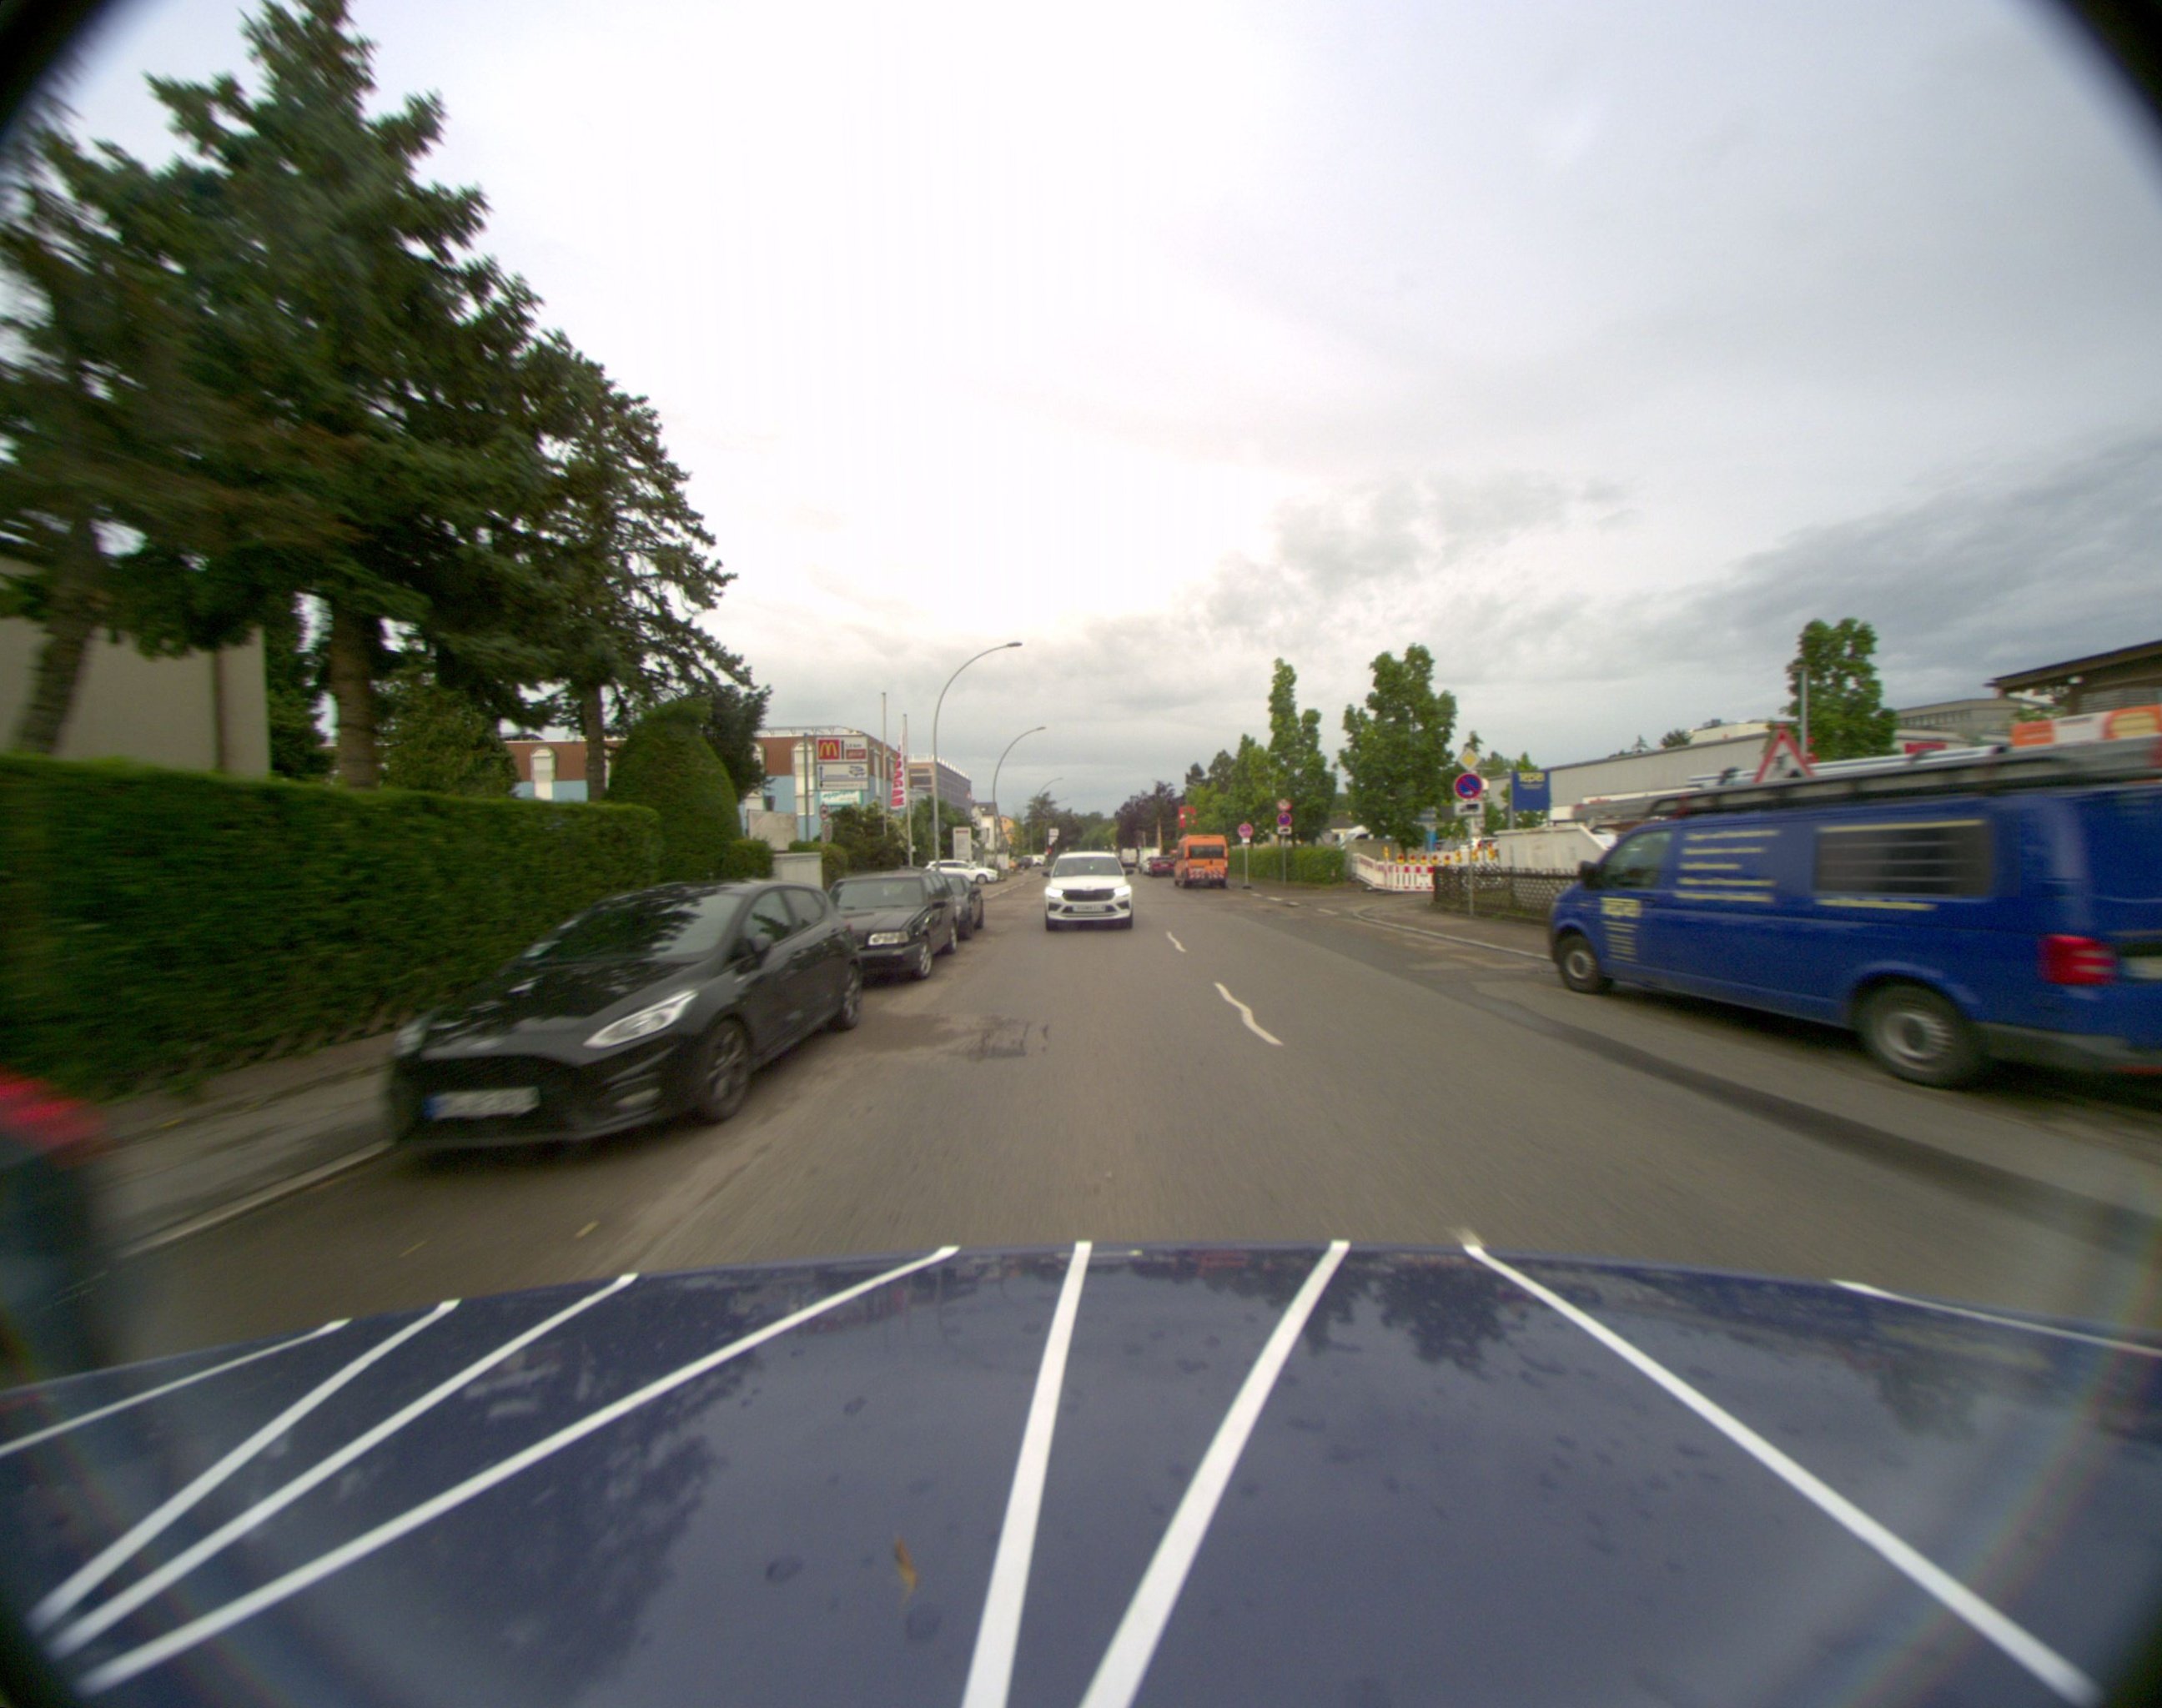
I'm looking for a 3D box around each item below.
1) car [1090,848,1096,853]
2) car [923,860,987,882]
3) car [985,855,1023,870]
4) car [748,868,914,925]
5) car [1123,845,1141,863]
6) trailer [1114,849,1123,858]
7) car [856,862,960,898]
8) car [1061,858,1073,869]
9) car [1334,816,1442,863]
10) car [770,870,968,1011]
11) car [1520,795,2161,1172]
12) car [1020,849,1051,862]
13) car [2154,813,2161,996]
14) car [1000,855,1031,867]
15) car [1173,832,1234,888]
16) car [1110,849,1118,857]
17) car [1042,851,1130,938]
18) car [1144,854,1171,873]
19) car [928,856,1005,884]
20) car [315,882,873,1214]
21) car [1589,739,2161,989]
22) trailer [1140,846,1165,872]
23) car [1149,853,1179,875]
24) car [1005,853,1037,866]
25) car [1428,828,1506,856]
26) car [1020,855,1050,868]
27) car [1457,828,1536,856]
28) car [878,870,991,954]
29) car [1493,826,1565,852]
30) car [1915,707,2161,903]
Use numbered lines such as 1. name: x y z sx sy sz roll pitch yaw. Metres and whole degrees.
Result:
1. car: 4.022 -1.068 253.698 1.898 1.678 4.230 0 1 1
2. car: -9.433 1.245 57.205 4.427 1.384 1.880 -3 0 -1
3. car: -8.345 0.893 82.644 3.997 1.422 1.630 -2 1 -1
4. car: -6.955 1.174 21.492 3.997 1.259 1.950 -3 1 -1
5. car: 7.024 0.012 105.556 2.163 2.413 6.459 1 1 1
6. trailer: 8.059 -0.187 163.739 1.934 1.755 4.548 -2 1 1
7. car: -7.485 1.104 33.176 3.996 1.259 1.951 -3 1 3
8. car: -2.210 1.494 118.843 1.743 1.458 4.545 -3 1 0
9. car: 14.815 -0.690 36.859 4.317 2.002 2.062 -3 1 1
10. car: -2.842 1.062 11.327 1.661 1.411 4.775 -3 1 -2
11. car: 6.396 0.601 6.607 1.998 1.936 5.364 -3 1 0
12. car: -7.343 0.203 123.638 4.743 1.875 2.000 -3 1 1
13. car: 12.066 0.399 6.289 3.718 1.740 1.778 -3 1 2
14. car: -9.012 0.981 105.003 3.976 1.481 1.833 -3 1 2
15. car: 6.047 0.289 38.355 2.130 2.523 6.022 -2 0 1
16. car: 8.165 -0.368 189.672 1.898 1.881 5.209 0 1 1
17. car: 0.057 0.817 17.404 1.692 1.651 3.999 -3 1 -1
18. car: 6.314 0.795 63.043 1.777 1.490 4.137 -2 0 0
19. car: -6.930 0.967 46.372 4.349 1.467 1.902 -3 1 0
20. car: -2.961 1.047 5.724 1.661 1.440 3.829 -3 0 0
21. car: 10.552 0.070 11.161 2.080 2.552 6.201 -3 1 1
22. trailer: 6.526 0.410 69.641 1.817 2.300 4.730 0 0 0
23. car: 6.283 0.728 58.247 1.810 1.564 4.342 -1 0 0
24. car: -8.433 0.776 107.178 4.237 1.665 1.980 -3 1 0
25. car: 24.853 -0.752 48.957 4.066 1.542 1.885 -3 1 -4
26. car: -7.197 1.169 118.388 4.456 1.615 1.893 -3 1 0
27. car: 25.286 -0.722 46.344 3.901 1.511 1.694 -3 1 -4
28. car: -2.978 1.128 16.261 1.594 1.333 4.092 -4 0 -1
29. car: 31.119 -1.040 52.810 3.999 1.597 1.771 -3 1 -7
30. car: 17.597 -0.806 12.470 2.080 2.996 5.242 -3 1 1
